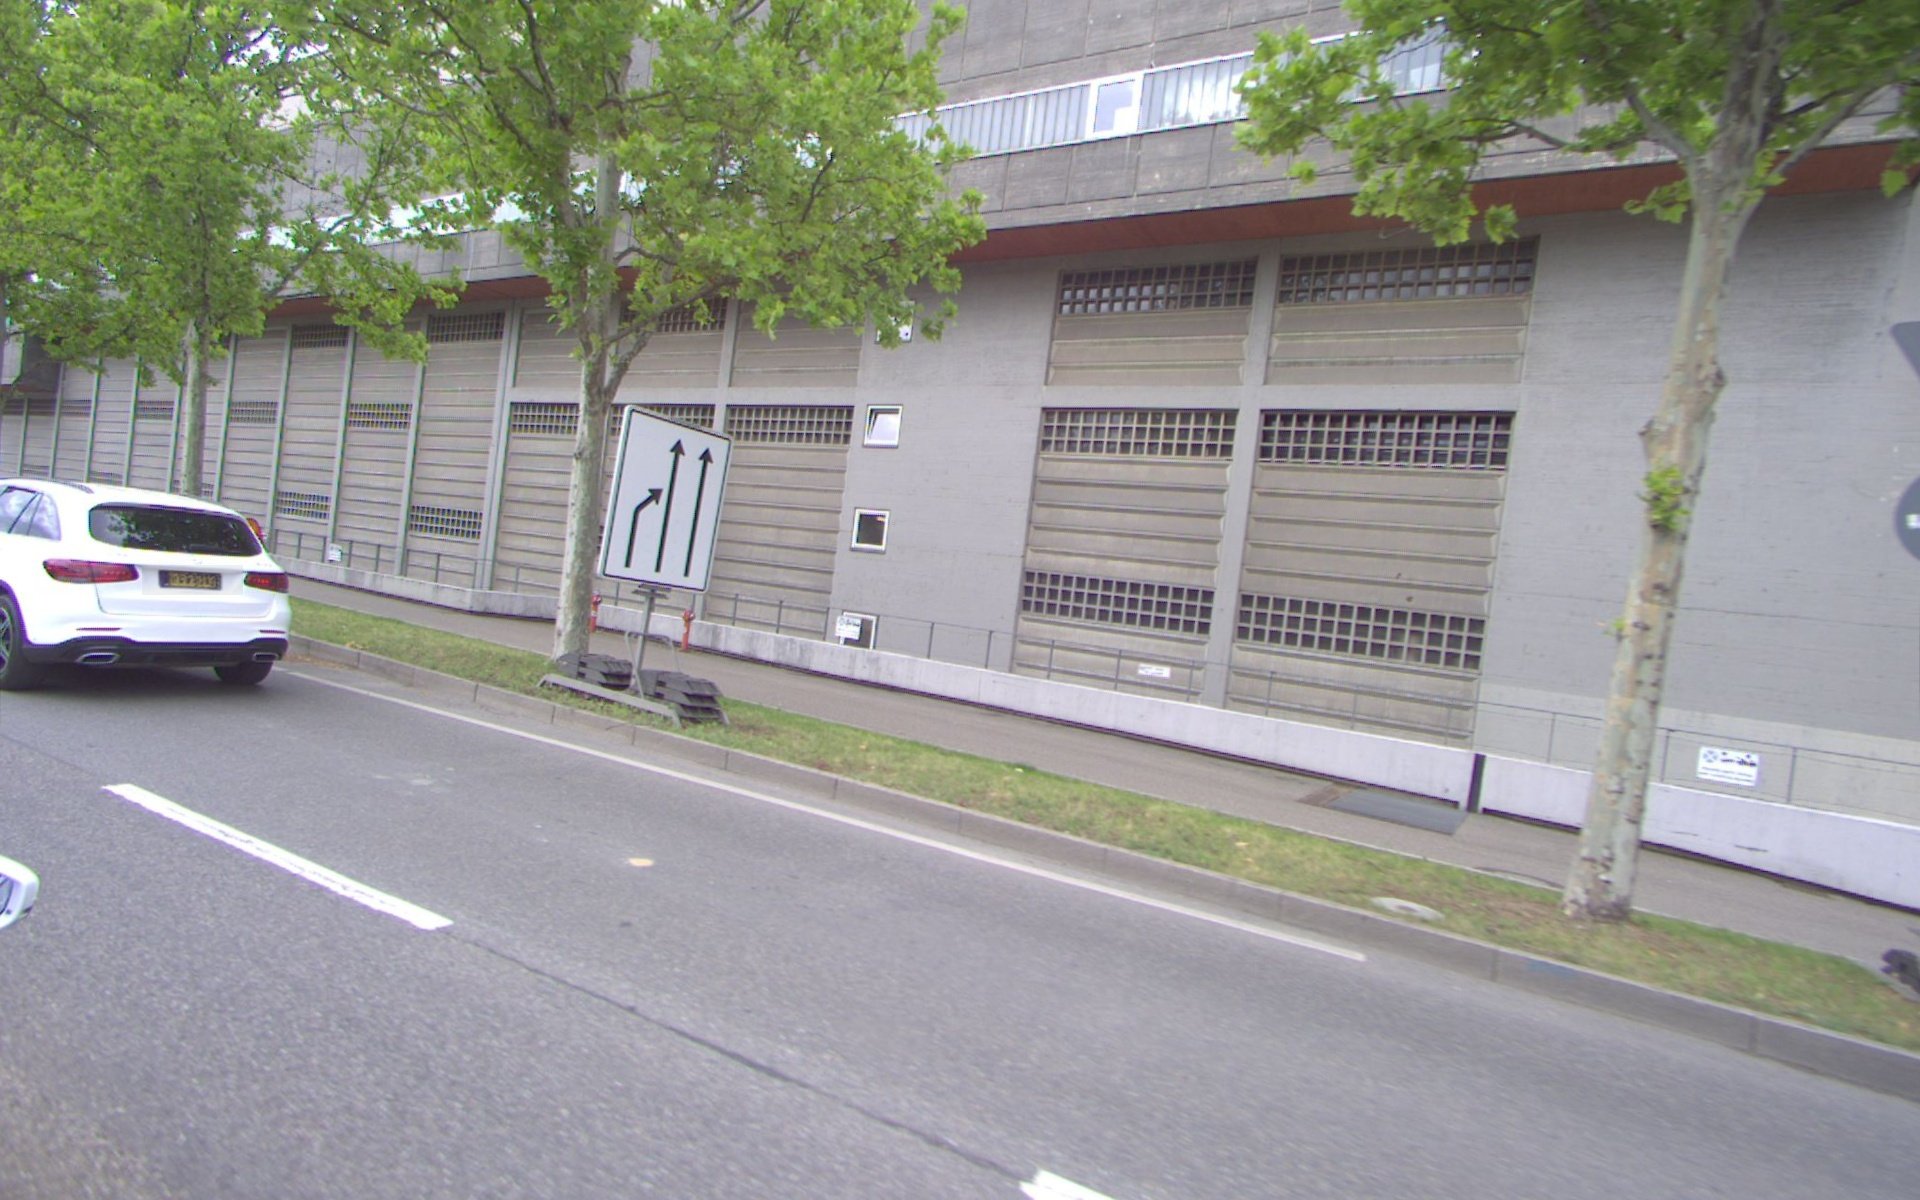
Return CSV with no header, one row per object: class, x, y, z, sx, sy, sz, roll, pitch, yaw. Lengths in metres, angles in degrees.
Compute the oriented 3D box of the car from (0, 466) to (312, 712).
car,-8.026,-0.274,9.021,4.474,1.665,1.812,8,3,30
